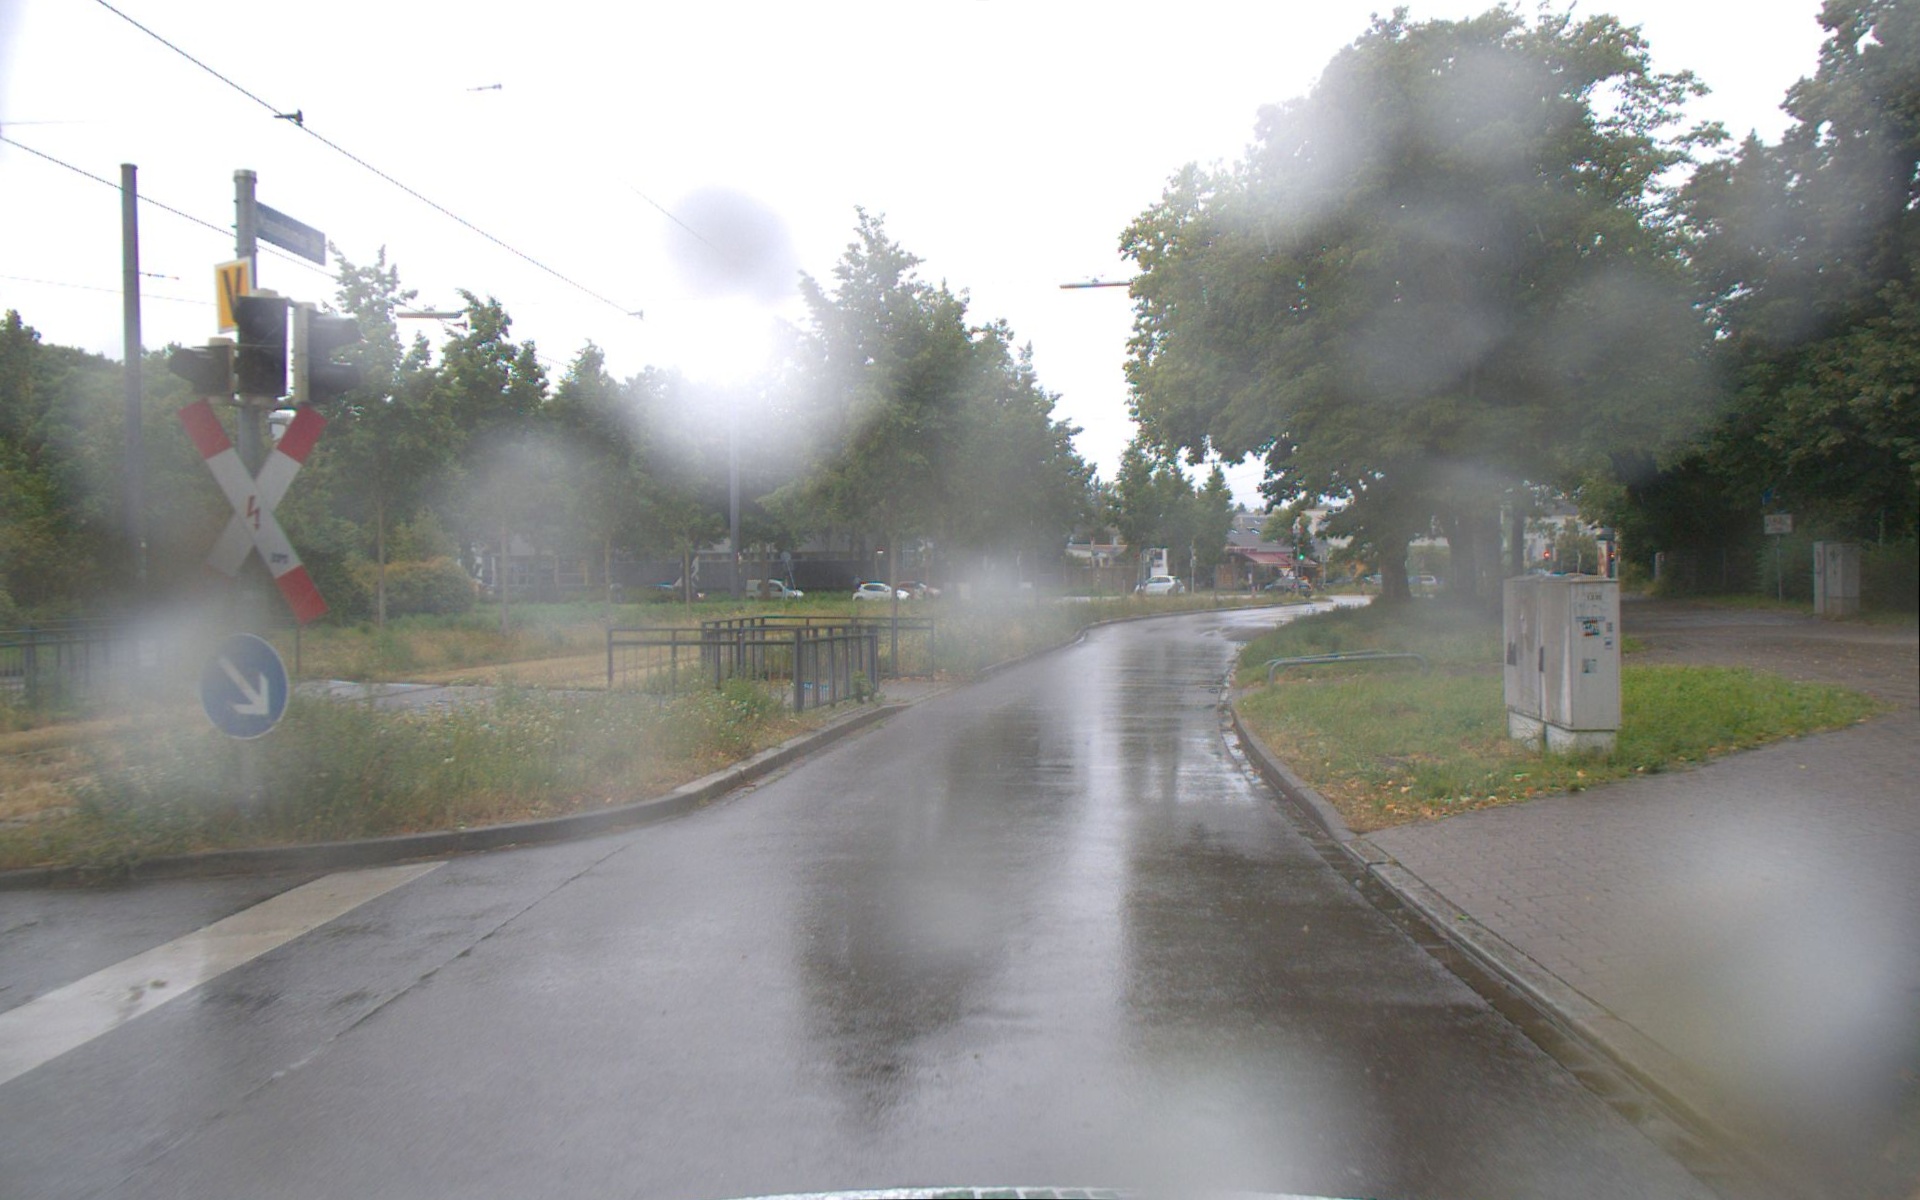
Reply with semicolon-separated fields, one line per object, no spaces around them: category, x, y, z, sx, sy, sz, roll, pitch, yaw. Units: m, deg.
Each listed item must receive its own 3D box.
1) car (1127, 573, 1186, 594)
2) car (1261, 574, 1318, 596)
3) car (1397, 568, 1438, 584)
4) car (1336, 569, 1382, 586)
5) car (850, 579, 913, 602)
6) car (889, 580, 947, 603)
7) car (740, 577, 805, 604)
car;14.240;-1.196;119.805;3.907;1.445;1.538;-1;1;24
car;22.167;-1.006;111.395;1.668;1.445;3.772;-2;1;-33
car;43.560;-2.300;157.377;3.671;1.467;1.763;-1;0;19
car;35.728;-2.038;148.151;3.678;1.467;1.760;-1;0;28
car;-5.381;-0.644;113.089;3.978;1.525;1.653;-1;0;13
car;-2.942;-0.609;116.447;3.736;1.525;1.653;-1;0;13
car;-13.050;-0.659;115.214;4.119;1.827;1.654;-1;2;12
